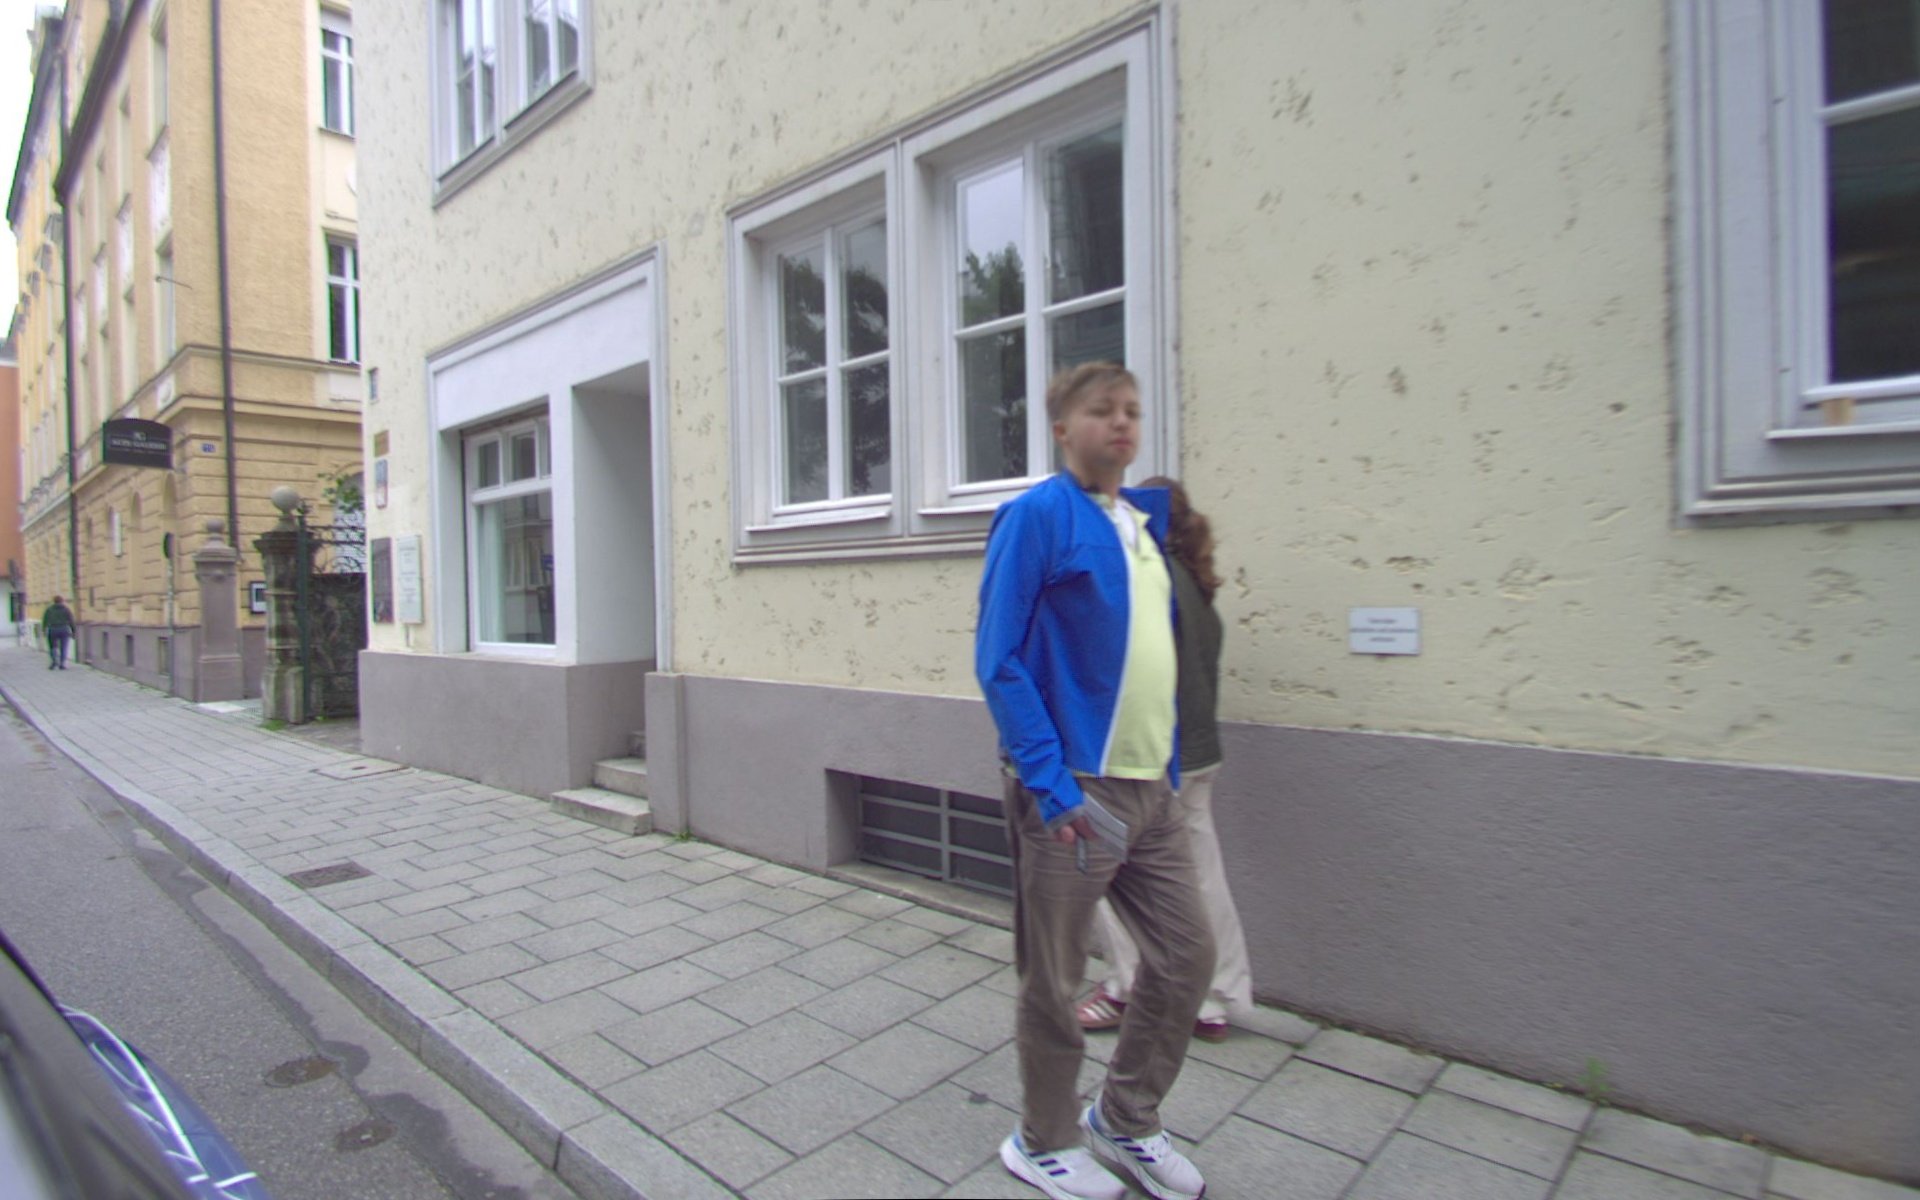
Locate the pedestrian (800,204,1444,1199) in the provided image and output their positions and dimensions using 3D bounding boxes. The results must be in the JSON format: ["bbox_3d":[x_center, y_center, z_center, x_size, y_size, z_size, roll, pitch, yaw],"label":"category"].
[{"bbox_3d":[0.321,0.336,2.164,1.077,1.868,0.748,-1,2,44],"label":"pedestrian"}]

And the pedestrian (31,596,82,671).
[{"bbox_3d":[-21.172,0.763,23.711,0.930,1.678,0.705,-1,3,43],"label":"pedestrian"}]

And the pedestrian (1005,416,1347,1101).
[{"bbox_3d":[0.634,0.386,2.971,0.724,1.689,0.640,-1,1,42],"label":"pedestrian"}]
